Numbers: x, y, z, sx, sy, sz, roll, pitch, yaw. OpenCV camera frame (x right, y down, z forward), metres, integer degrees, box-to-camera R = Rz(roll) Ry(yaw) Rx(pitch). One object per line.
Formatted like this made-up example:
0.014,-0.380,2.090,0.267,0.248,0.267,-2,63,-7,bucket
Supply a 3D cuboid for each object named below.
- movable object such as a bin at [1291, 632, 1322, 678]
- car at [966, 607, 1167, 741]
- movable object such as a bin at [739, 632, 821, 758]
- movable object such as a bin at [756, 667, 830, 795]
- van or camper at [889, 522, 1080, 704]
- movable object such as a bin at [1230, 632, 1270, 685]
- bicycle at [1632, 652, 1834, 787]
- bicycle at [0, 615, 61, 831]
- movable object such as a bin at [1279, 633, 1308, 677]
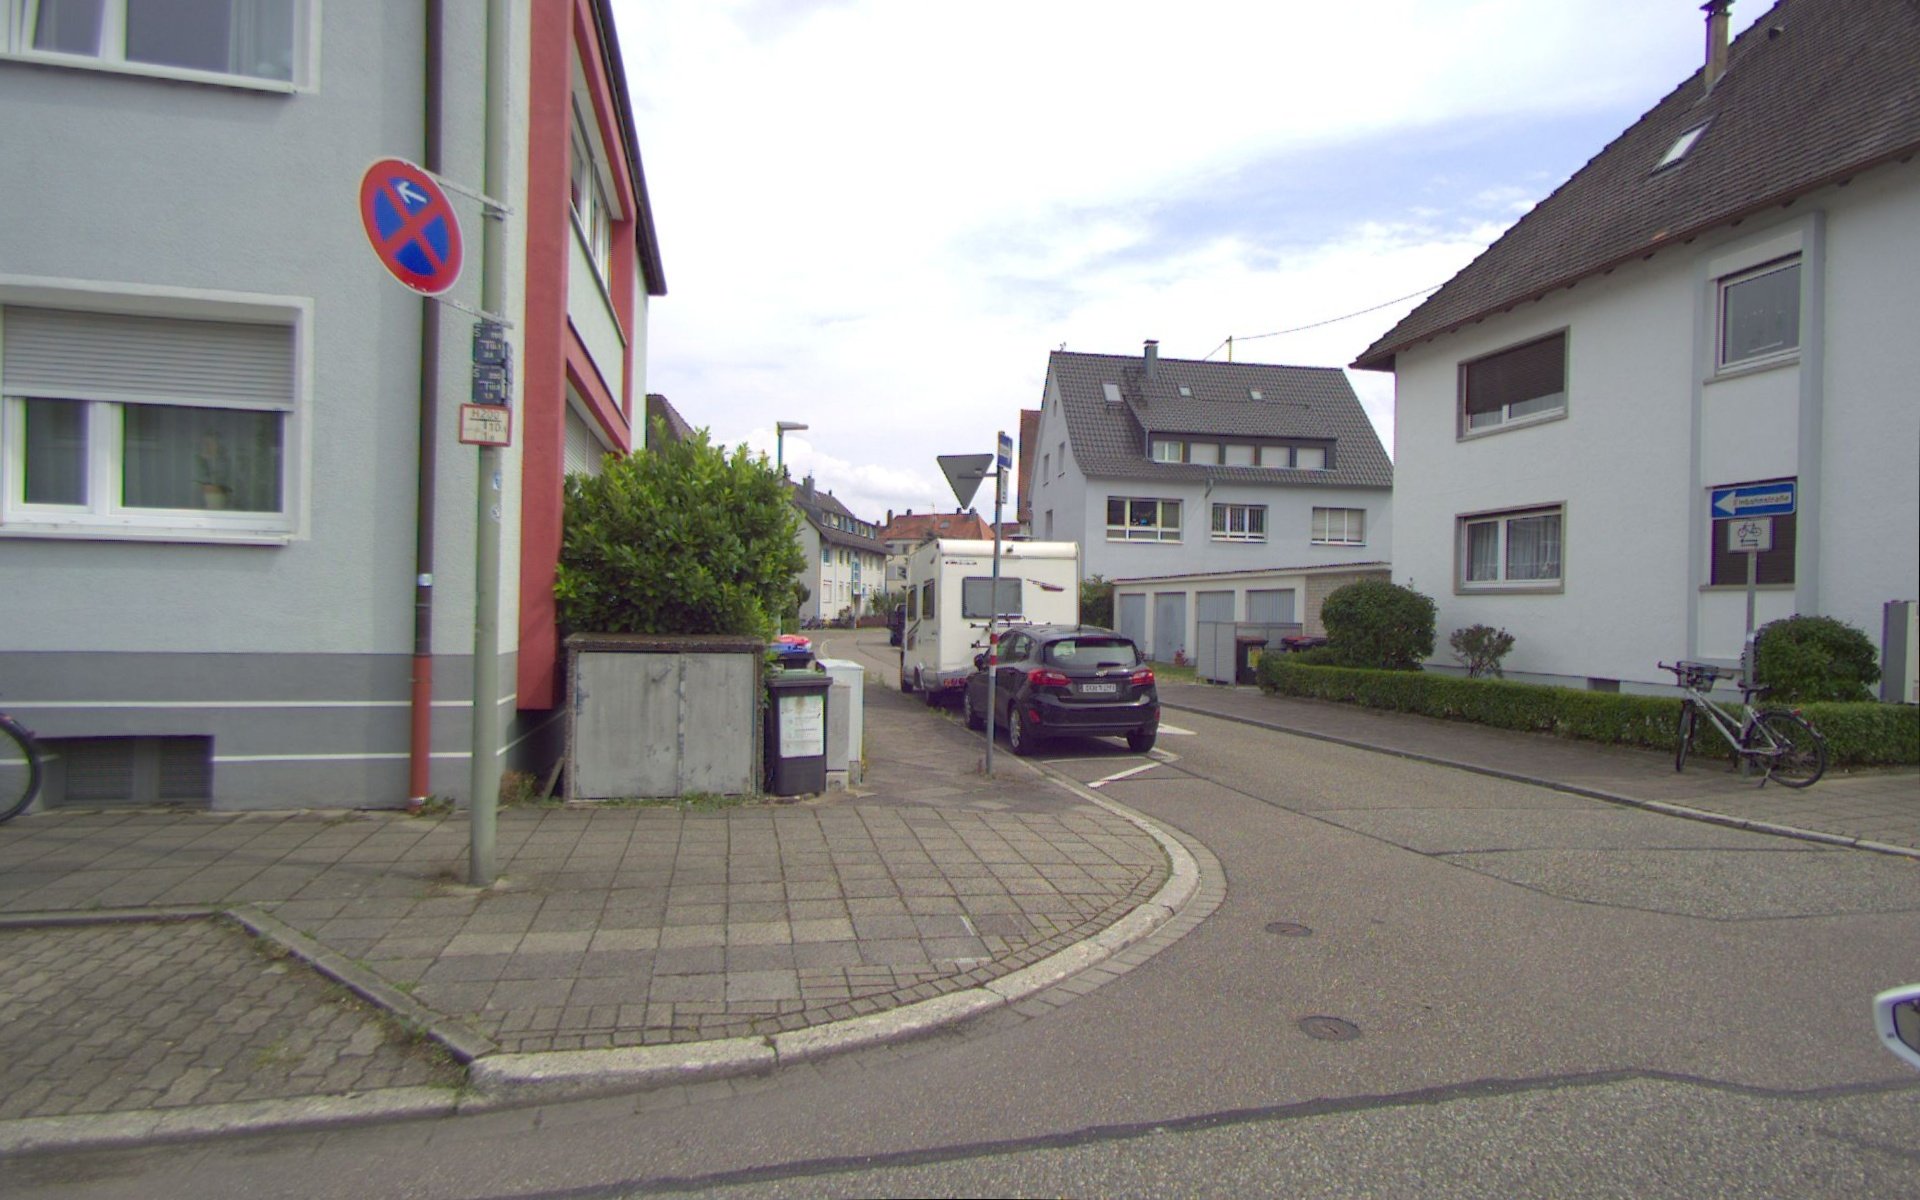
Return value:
7.634,1.212,22.127,0.447,0.986,0.506,1,-2,-12,movable object such as a bin
1.188,0.883,12.836,1.634,1.441,3.763,1,-2,-9,car
-1.717,0.882,9.539,0.668,1.147,0.591,1,-2,-19,movable object such as a bin
-1.276,0.976,7.660,0.468,0.919,0.485,1,-2,-19,movable object such as a bin
0.192,0.337,18.473,2.368,2.760,6.153,1,-2,-10,van or camper
6.483,1.301,22.470,0.571,1.152,0.753,1,-2,-12,movable object such as a bin
7.550,1.121,9.909,0.428,1.194,1.633,1,-2,-17,bicycle
-6.203,0.659,5.522,1.841,1.168,0.491,1,1,-14,bicycle
7.534,1.238,22.691,0.447,0.986,0.506,1,-2,-12,movable object such as a bin
